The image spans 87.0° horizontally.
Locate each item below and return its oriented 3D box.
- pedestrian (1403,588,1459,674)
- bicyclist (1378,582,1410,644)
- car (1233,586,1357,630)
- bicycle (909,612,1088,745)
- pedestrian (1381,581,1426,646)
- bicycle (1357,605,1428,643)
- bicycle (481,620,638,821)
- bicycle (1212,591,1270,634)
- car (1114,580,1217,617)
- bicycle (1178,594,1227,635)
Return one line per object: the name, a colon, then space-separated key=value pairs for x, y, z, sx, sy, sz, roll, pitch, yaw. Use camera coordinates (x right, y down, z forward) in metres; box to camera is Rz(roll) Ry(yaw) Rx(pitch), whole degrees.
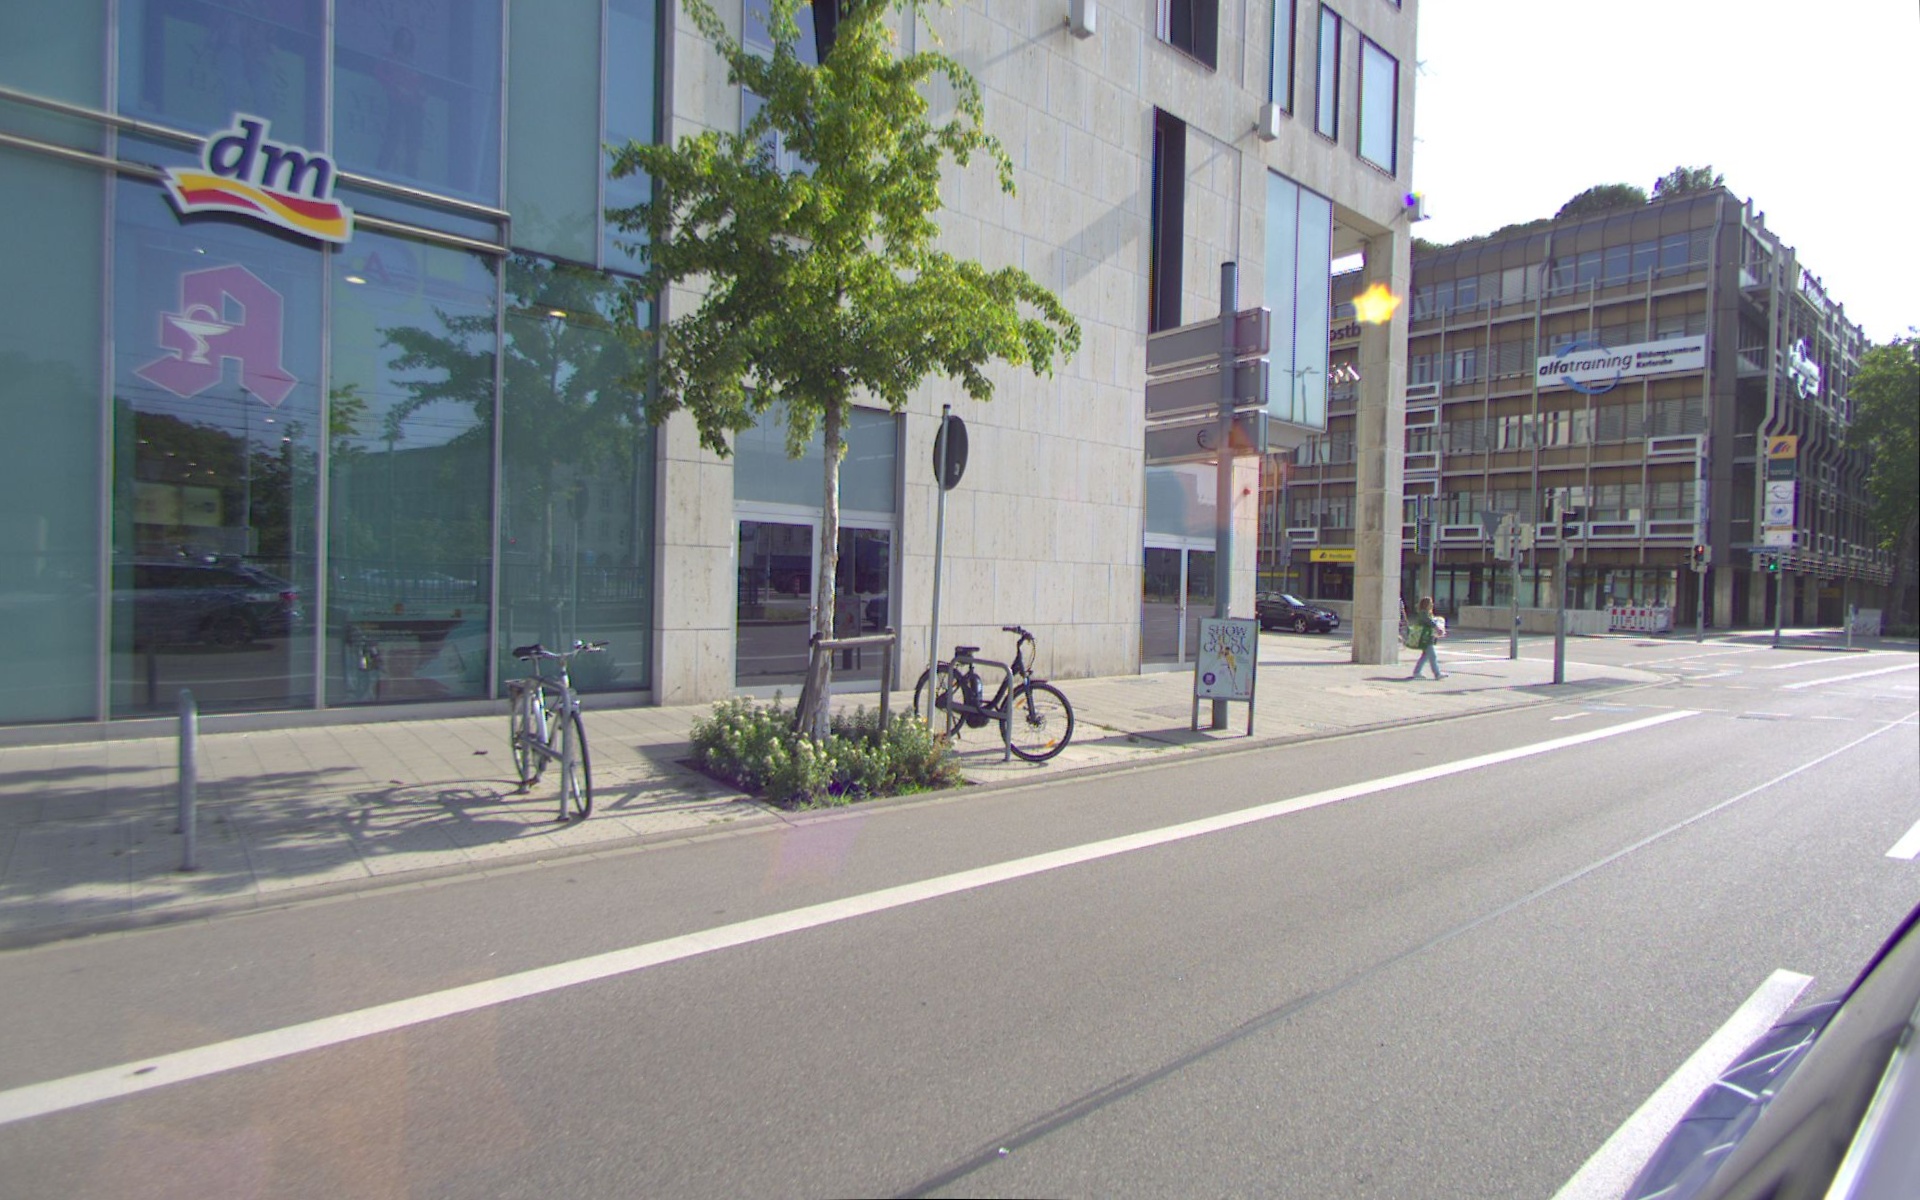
pedestrian: x=8.554 y=0.555 z=18.389 sx=0.594 sy=1.506 sz=0.709 roll=1 pitch=1 yaw=-41
bicyclist: x=12.657 y=0.376 z=29.518 sx=0.572 sy=1.759 sz=0.636 roll=1 pitch=1 yaw=-40
car: x=12.026 y=0.243 z=36.500 sx=1.842 sy=1.383 sz=3.906 roll=0 pitch=2 yaw=-35
bicycle: x=0.321 y=0.687 z=9.644 sx=0.674 sy=1.127 sz=1.844 roll=1 pitch=-1 yaw=-38
pedestrian: x=12.078 y=0.354 z=27.563 sx=0.970 sy=1.732 sz=0.645 roll=1 pitch=1 yaw=-32
bicycle: x=12.620 y=0.689 z=29.558 sx=0.601 sy=1.030 sz=1.806 roll=1 pitch=1 yaw=-39
bicycle: x=-2.813 y=0.745 z=6.992 sx=0.481 sy=1.123 sz=1.883 roll=1 pitch=1 yaw=-38
bicycle: x=8.564 y=0.381 z=30.823 sx=2.032 sy=1.253 sz=0.615 roll=0 pitch=1 yaw=-38
car: x=8.352 y=-0.085 z=41.383 sx=1.843 sy=1.420 sz=3.914 roll=0 pitch=1 yaw=-35
bicycle: x=7.350 y=0.431 z=30.640 sx=1.762 sy=1.214 sz=0.501 roll=0 pitch=1 yaw=-42
